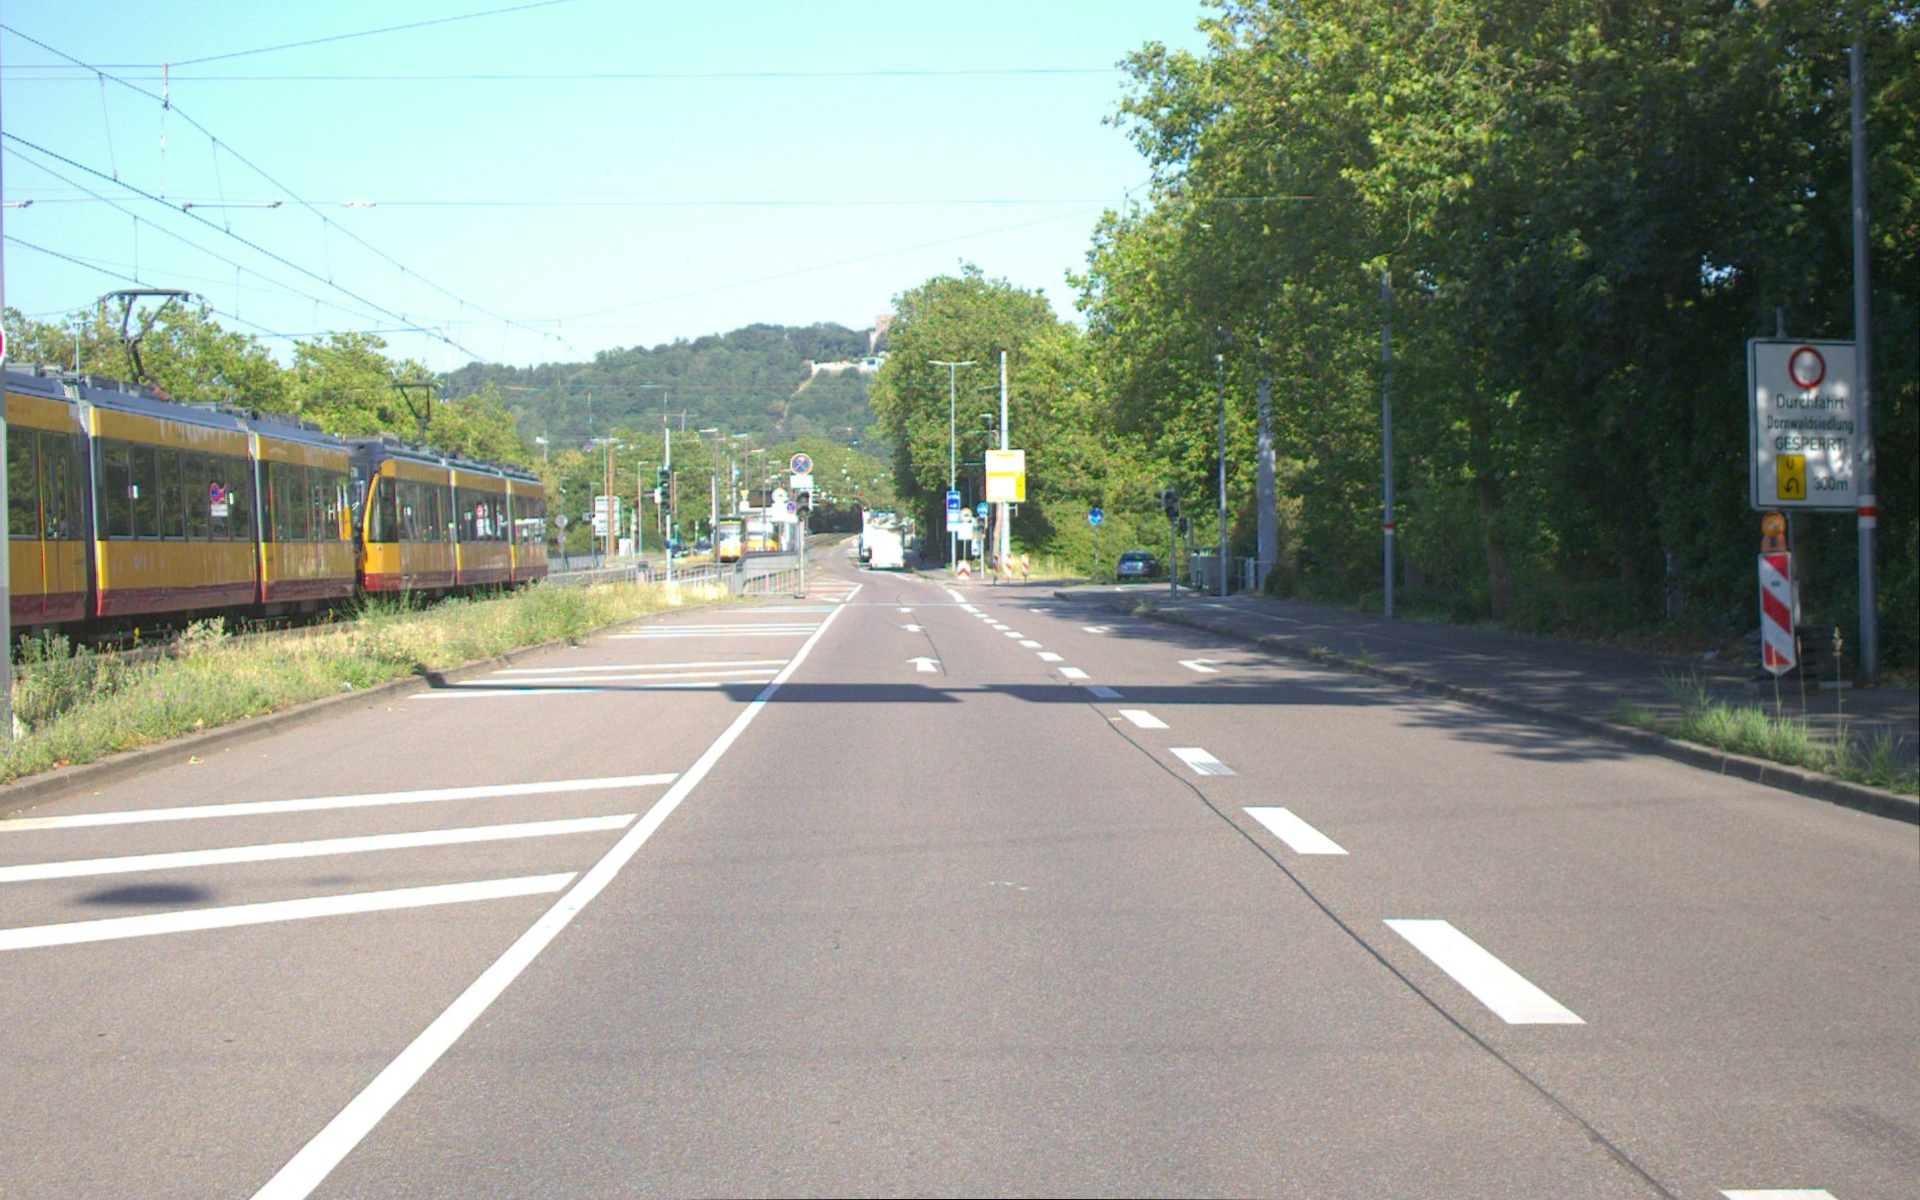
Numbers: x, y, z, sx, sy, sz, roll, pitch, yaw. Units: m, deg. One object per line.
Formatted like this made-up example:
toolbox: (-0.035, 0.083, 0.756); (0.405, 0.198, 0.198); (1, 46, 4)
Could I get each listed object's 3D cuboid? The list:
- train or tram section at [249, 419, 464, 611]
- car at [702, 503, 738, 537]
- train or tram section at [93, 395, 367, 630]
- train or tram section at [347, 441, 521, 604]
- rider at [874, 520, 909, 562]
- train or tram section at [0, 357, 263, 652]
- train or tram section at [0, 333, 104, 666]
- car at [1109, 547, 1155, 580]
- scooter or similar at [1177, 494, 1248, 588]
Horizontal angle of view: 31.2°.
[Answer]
train or tram section: (-13.406, -1.847, 77.522); (2.824, 3.937, 12.708); (1, 1, -1)
car: (-14.897, -4.951, 213.264); (1.993, 2.007, 4.000); (1, 1, -1)
train or tram section: (-13.228, -1.542, 63.413); (2.804, 3.889, 11.814); (1, 1, -1)
train or tram section: (-13.654, -1.982, 90.235); (2.824, 3.937, 12.655); (1, 1, -1)
rider: (-4.324, -3.705, 216.077); (2.109, 2.638, 0.736); (0, 1, 5)
train or tram section: (-12.929, -1.358, 51.512); (2.804, 3.889, 11.992); (1, 1, -1)
train or tram section: (-12.611, -1.175, 39.361); (2.804, 3.889, 12.333); (1, 1, -1)
car: (8.440, -1.790, 168.719); (2.087, 1.560, 3.954); (1, 1, 5)
scooter or similar: (7.458, -1.746, 101.721); (1.681, 2.706, 4.869); (0, 1, 0)
